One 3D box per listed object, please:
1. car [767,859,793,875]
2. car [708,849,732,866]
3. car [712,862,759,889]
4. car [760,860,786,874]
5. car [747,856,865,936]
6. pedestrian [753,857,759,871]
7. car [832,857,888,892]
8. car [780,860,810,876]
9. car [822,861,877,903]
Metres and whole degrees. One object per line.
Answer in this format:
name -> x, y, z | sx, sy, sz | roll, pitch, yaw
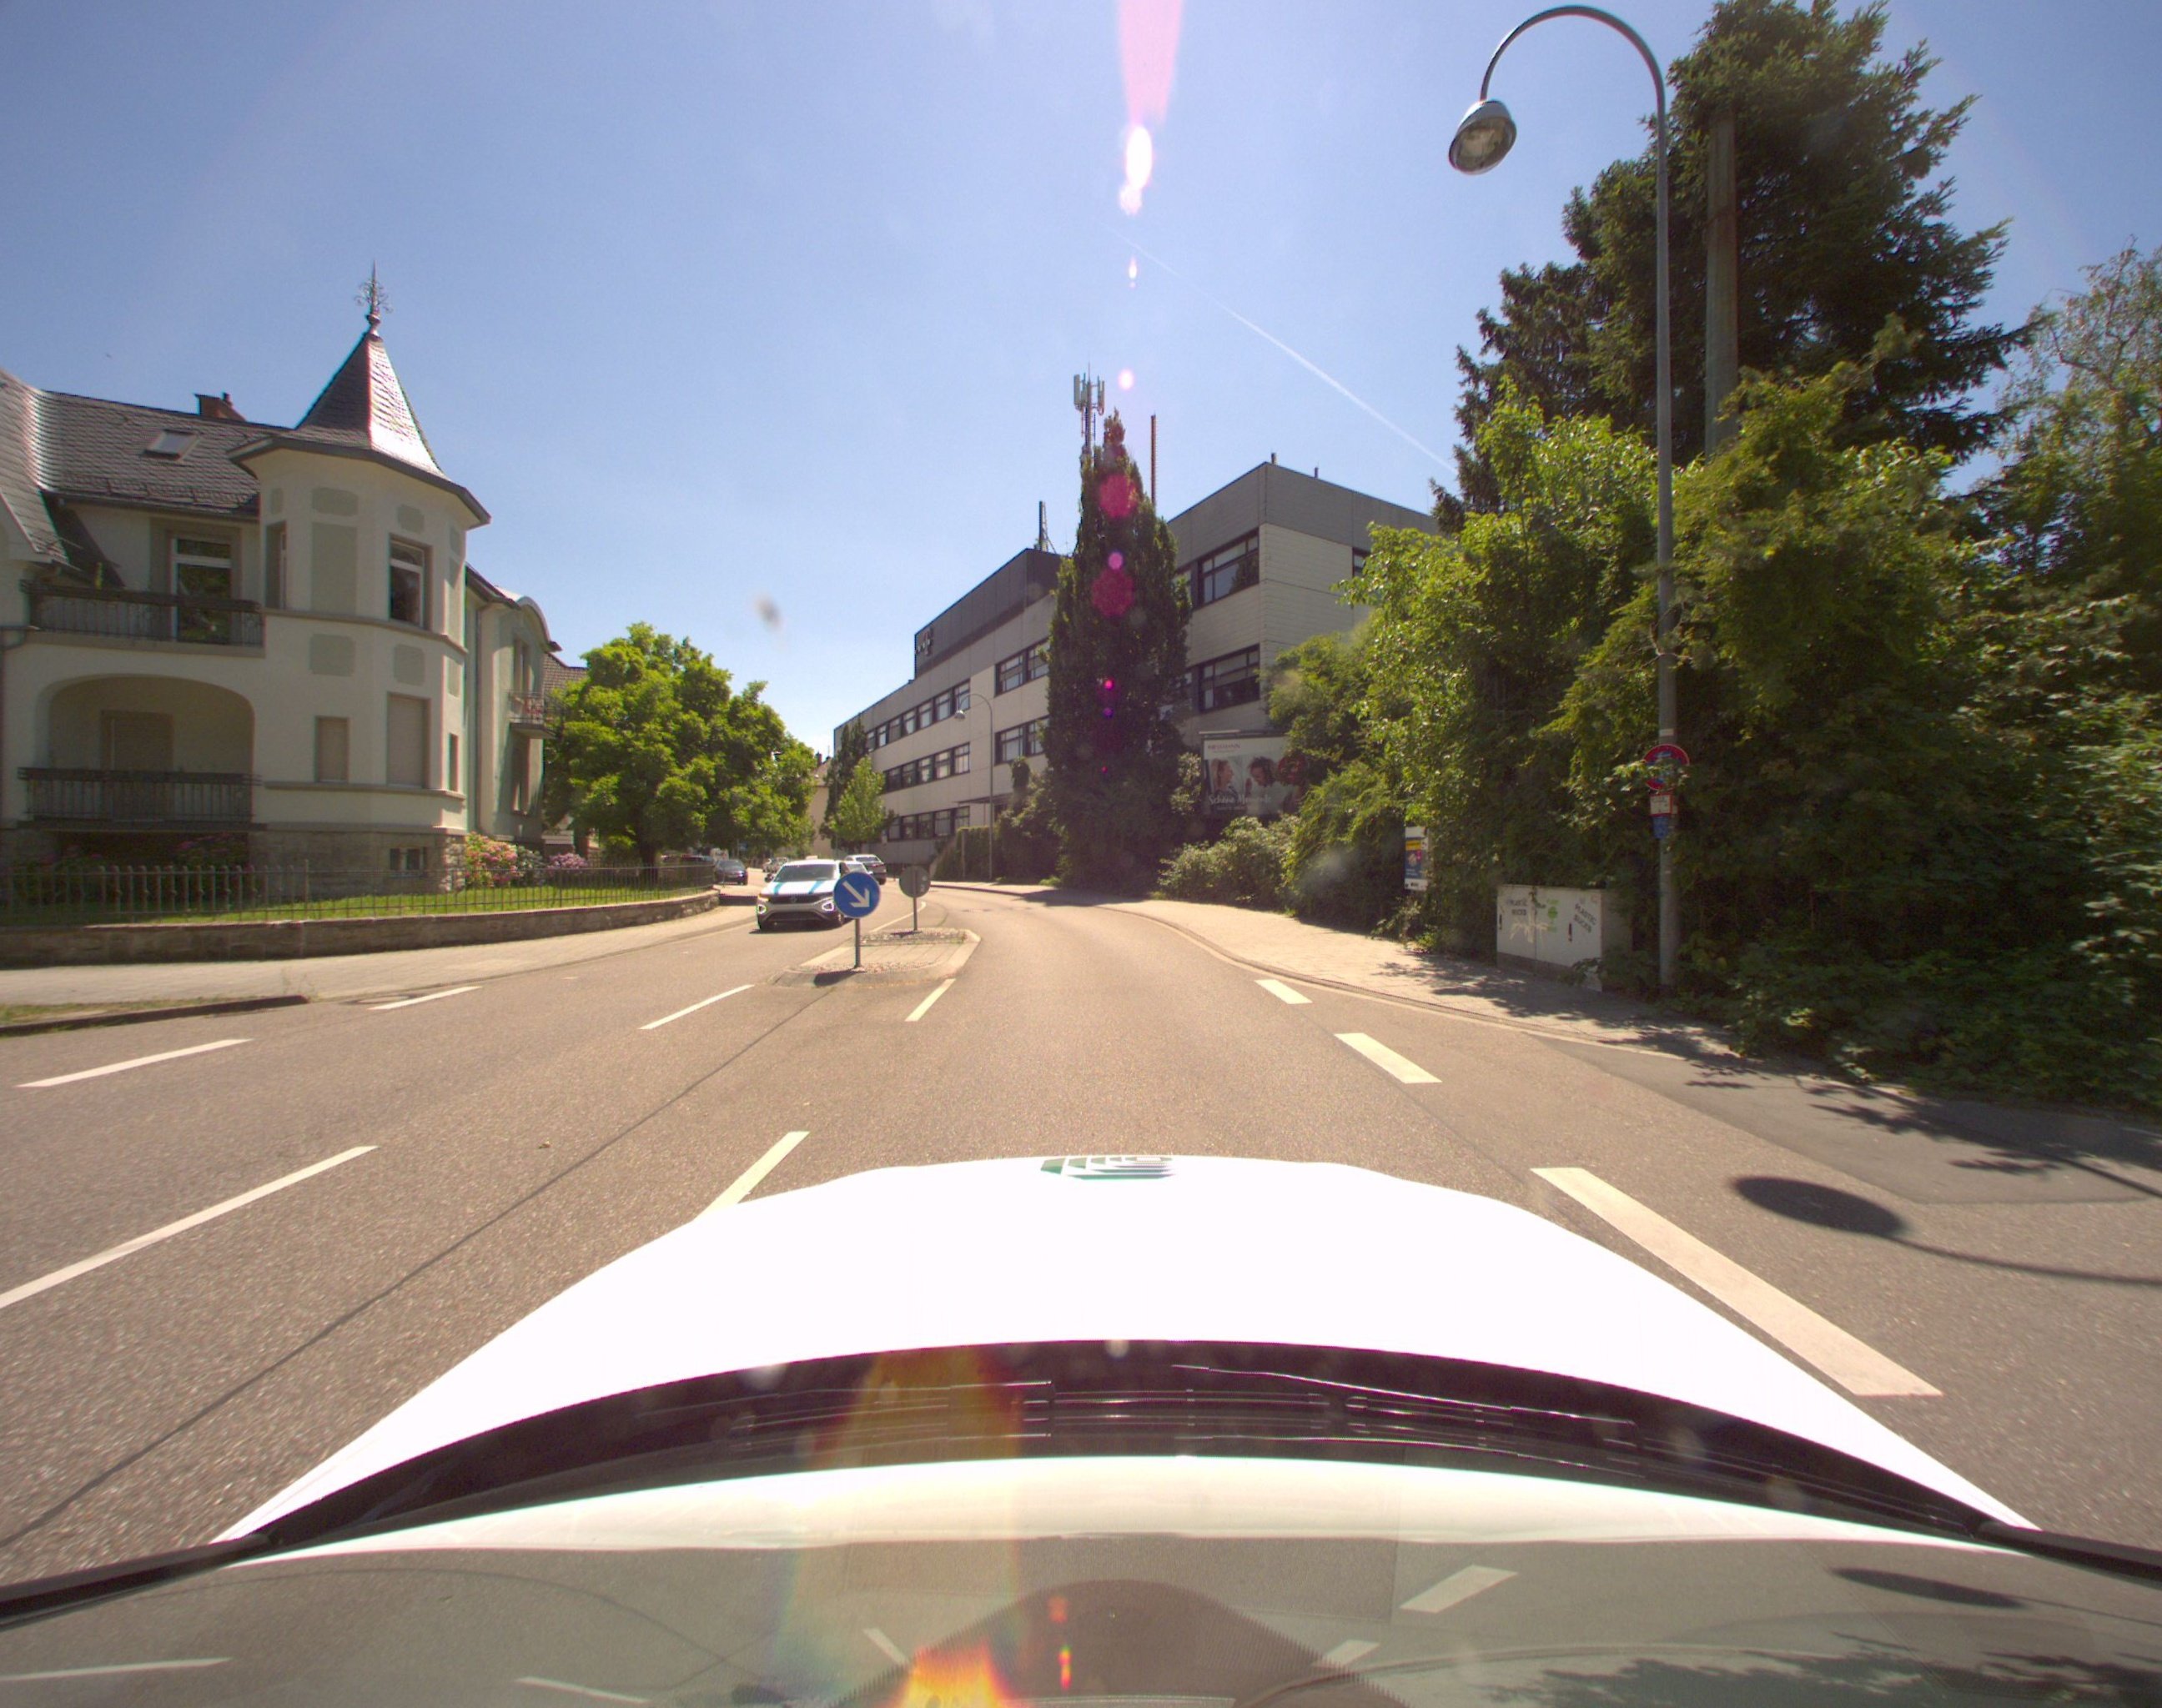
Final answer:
car -> -30.087, 1.256, 81.340 | 1.669, 1.488, 4.303 | -2, 1, -31
car -> -46.796, 0.451, 105.487 | 2.084, 2.196, 5.087 | -2, 1, -31
car -> -20.068, 1.203, 47.201 | 1.937, 1.437, 4.615 | 3, -2, -29
car -> -32.360, 1.333, 85.465 | 1.737, 1.383, 4.359 | -2, 1, -31
car -> -6.459, 0.897, 19.614 | 1.871, 1.623, 4.293 | 0, 1, -8
pedestrian -> -41.779, 1.282, 104.756 | 0.642, 1.758, 0.610 | 0, 0, -35
car -> -12.079, 1.064, 44.309 | 1.947, 1.613, 4.432 | -8, 3, -27
car -> -26.889, 1.313, 76.412 | 1.874, 1.373, 3.960 | 0, -1, -31
car -> -8.927, 1.021, 31.160 | 1.764, 1.435, 4.276 | -2, 0, -19
